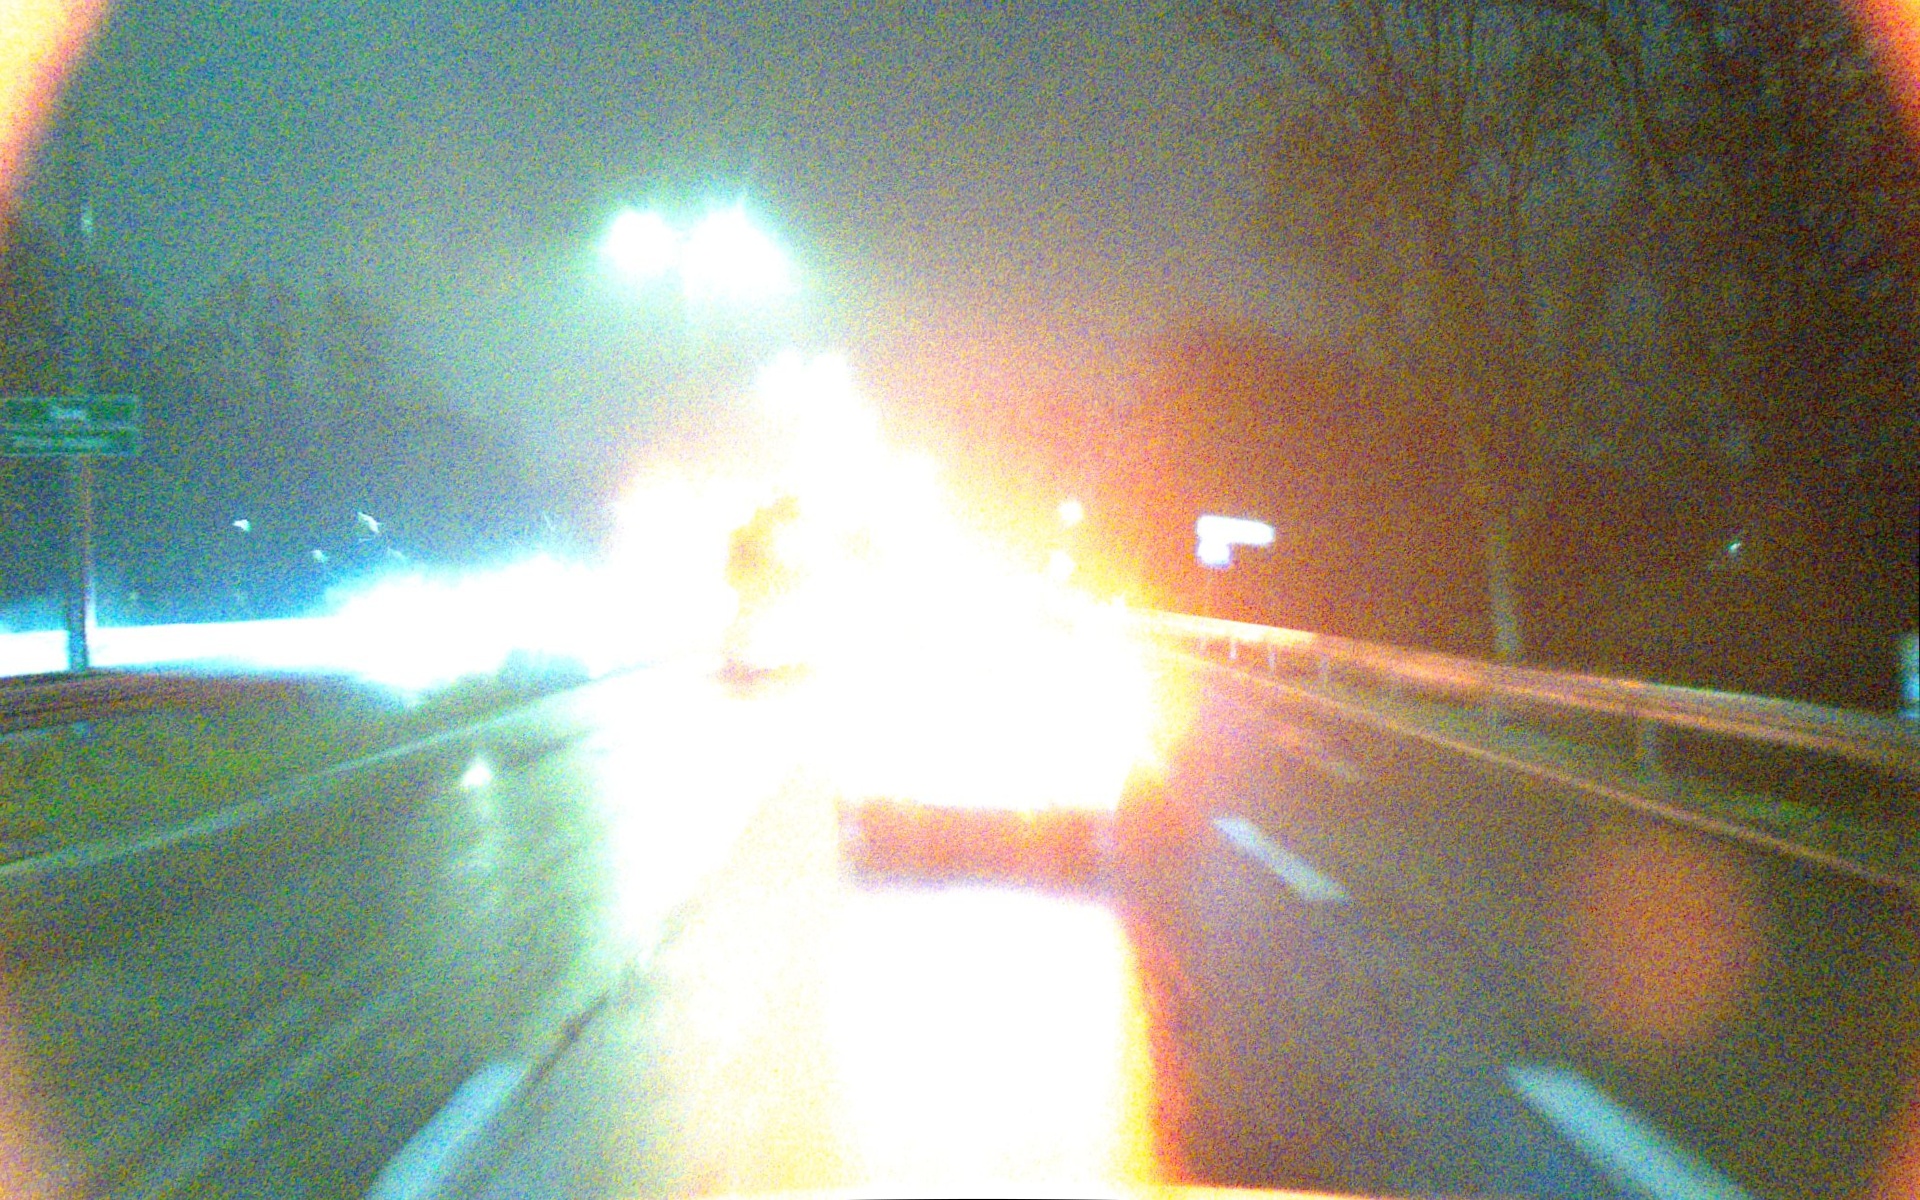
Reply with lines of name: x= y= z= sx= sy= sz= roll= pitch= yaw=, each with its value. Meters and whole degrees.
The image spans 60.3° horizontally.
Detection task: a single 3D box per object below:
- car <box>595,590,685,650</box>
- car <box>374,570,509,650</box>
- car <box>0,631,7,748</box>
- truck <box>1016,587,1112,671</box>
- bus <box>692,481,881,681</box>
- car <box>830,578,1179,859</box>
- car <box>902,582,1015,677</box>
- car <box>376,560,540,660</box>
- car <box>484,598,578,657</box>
car: x=-10.483 y=0.659 z=54.565 sx=2.121 sy=1.805 sz=4.703 roll=2 pitch=-1 yaw=-2
car: x=-12.874 y=0.276 z=41.403 sx=1.953 sy=1.805 sz=4.703 roll=2 pitch=-1 yaw=-2
car: x=-13.563 y=1.104 z=19.334 sx=1.982 sy=1.528 sz=4.895 roll=2 pitch=-1 yaw=-1
truck: x=3.653 y=1.000 z=57.007 sx=3.005 sy=2.573 sz=7.170 roll=2 pitch=-1 yaw=5
bus: x=-3.065 y=-0.354 z=31.733 sx=2.688 sy=3.178 sz=9.200 roll=2 pitch=1 yaw=-1
car: x=0.260 y=0.655 z=10.978 sx=1.904 sy=1.517 sz=3.716 roll=1 pitch=0 yaw=0
car: x=-0.026 y=0.482 z=28.322 sx=1.784 sy=1.487 sz=3.716 roll=1 pitch=0 yaw=0
car: x=-10.047 y=0.226 z=33.510 sx=1.953 sy=1.805 sz=4.703 roll=2 pitch=-1 yaw=-2
car: x=-14.313 y=0.925 z=55.450 sx=1.953 sy=1.805 sz=4.703 roll=2 pitch=-1 yaw=-2
